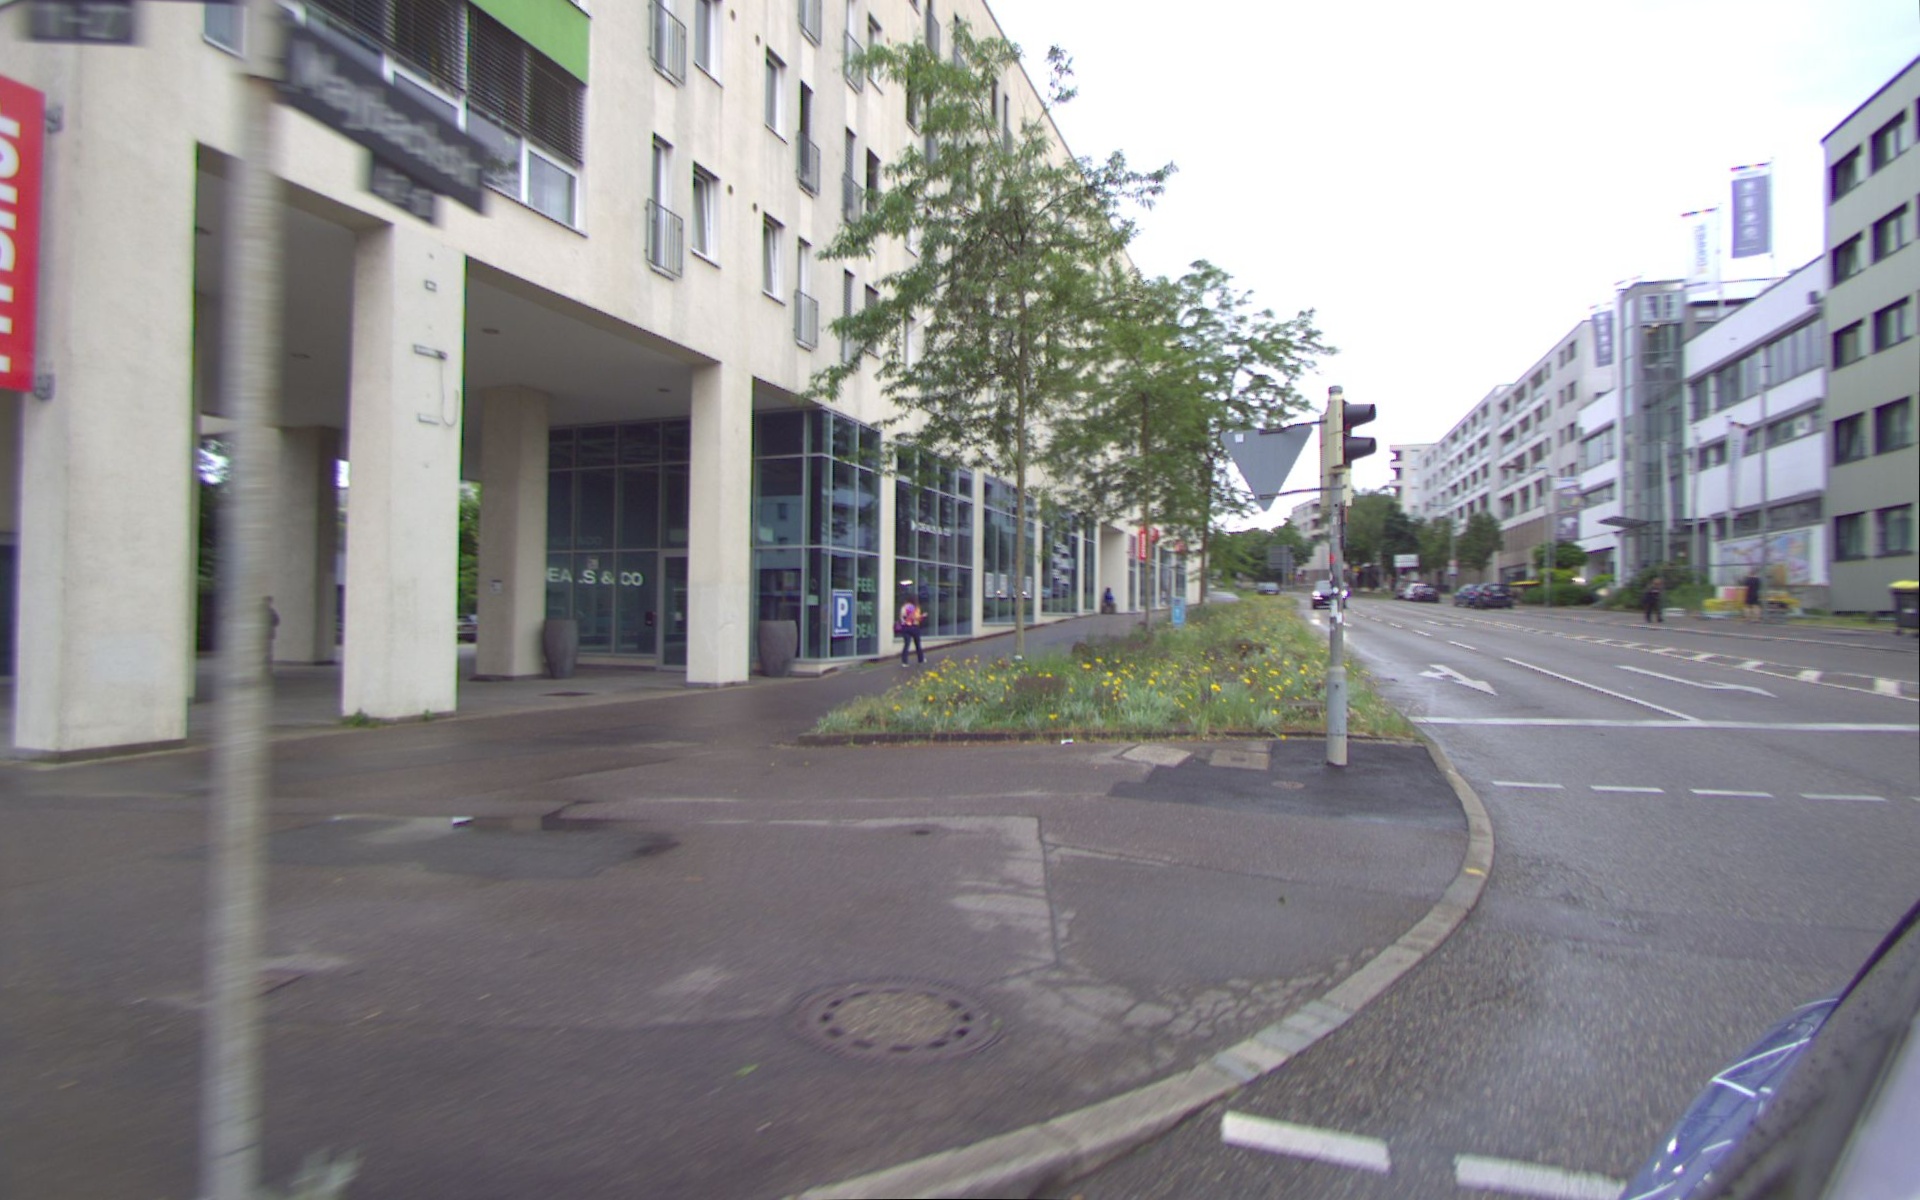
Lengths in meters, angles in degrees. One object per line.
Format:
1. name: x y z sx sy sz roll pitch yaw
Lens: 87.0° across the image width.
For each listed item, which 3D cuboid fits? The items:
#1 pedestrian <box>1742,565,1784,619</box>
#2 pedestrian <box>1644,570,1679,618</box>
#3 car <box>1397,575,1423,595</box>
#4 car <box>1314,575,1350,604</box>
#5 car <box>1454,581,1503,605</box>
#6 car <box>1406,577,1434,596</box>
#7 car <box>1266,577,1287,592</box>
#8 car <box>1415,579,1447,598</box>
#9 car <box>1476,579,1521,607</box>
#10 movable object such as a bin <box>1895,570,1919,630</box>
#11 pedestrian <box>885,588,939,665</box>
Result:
1. pedestrian: 26.561 -0.273 33.490 0.748 1.753 0.936 -2 0 20
2. pedestrian: 25.680 -0.225 37.065 0.759 1.697 0.963 -2 0 18
3. car: 40.686 -1.378 91.588 1.609 1.638 3.952 3 2 17
4. car: 22.668 -0.648 61.785 1.974 1.593 3.976 -2 1 19
5. car: 32.520 -0.463 63.583 1.635 1.421 4.255 0 1 12
6. car: 39.286 -1.143 86.422 1.576 1.486 3.406 3 2 16
7. car: 34.538 -1.713 110.436 1.974 1.504 3.976 -2 1 19
8. car: 38.243 -0.966 82.272 1.639 1.408 3.723 2 2 15
9. car: 31.598 -0.453 59.443 1.496 1.528 2.972 2 2 12
10. movable object such as a bin: 24.620 -0.013 25.464 1.044 1.463 1.422 -3 0 19
11. pedestrian: -1.115 0.600 23.557 0.864 1.734 1.081 -2 -1 20
